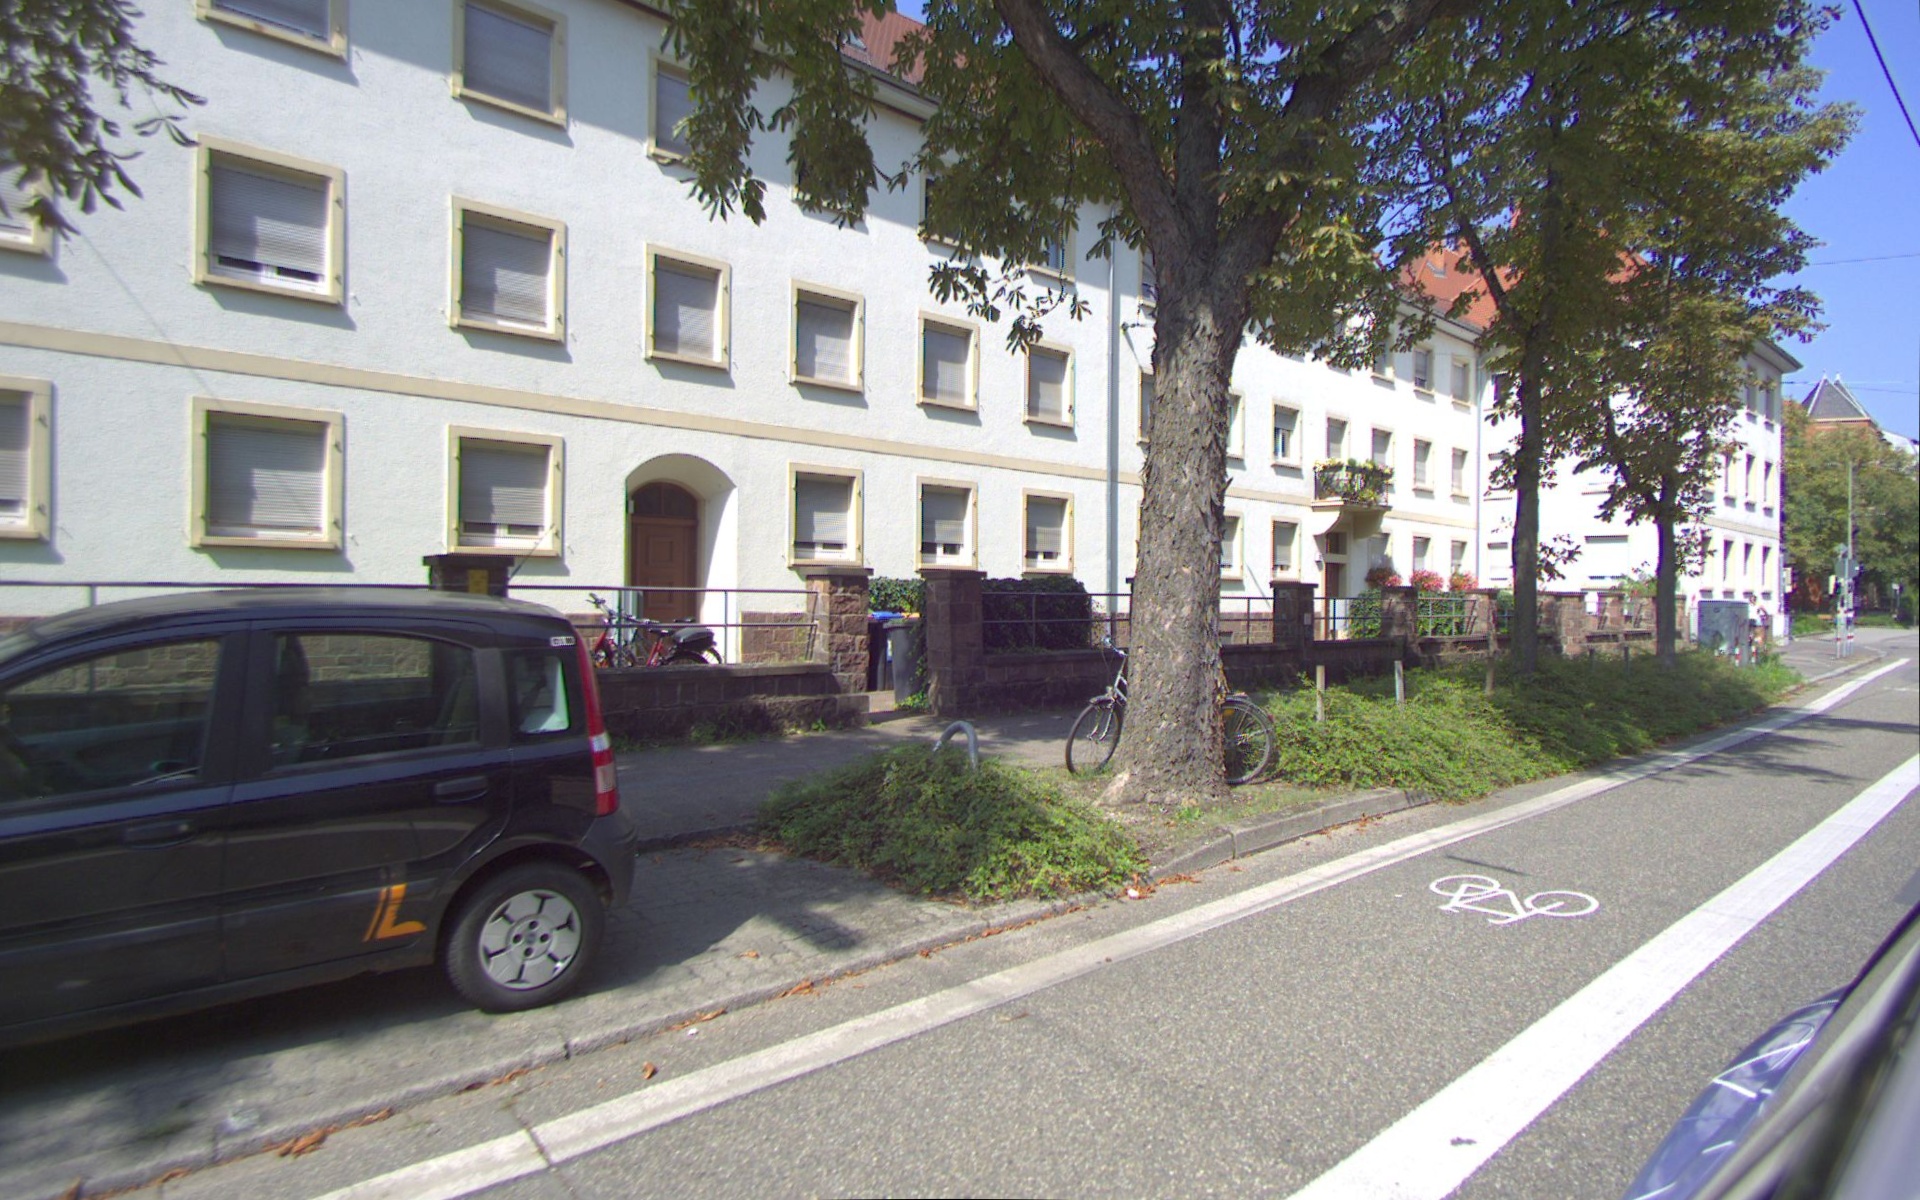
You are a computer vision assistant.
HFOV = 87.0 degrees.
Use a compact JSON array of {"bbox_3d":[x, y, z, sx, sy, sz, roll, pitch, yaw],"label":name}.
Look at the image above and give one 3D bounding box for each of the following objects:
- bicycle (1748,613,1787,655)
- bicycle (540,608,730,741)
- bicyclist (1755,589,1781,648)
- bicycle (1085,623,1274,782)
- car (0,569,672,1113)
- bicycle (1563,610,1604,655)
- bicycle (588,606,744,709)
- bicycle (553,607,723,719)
[{"bbox_3d":[21.241,0.883,26.606,1.796,1.060,0.441,0,0,-39],"label":"bicycle"},{"bbox_3d":[-3.091,0.670,9.743,1.687,1.175,0.469,0,0,-41],"label":"bicycle"},{"bbox_3d":[21.249,0.491,26.616,0.463,1.531,0.438,1,0,-39],"label":"bicyclist"},{"bbox_3d":[1.663,0.753,7.720,1.372,1.122,0.388,0,0,15],"label":"bicycle"},{"bbox_3d":[-3.002,0.671,3.673,3.431,1.549,1.623,0,1,-34],"label":"car"},{"bbox_3d":[15.507,0.787,25.158,1.798,1.060,0.440,0,0,-44],"label":"bicycle"},{"bbox_3d":[-3.369,0.631,11.693,1.687,1.107,0.469,0,0,-41],"label":"bicycle"},{"bbox_3d":[-3.408,0.633,10.814,1.687,1.107,0.469,0,0,-41],"label":"bicycle"}]
